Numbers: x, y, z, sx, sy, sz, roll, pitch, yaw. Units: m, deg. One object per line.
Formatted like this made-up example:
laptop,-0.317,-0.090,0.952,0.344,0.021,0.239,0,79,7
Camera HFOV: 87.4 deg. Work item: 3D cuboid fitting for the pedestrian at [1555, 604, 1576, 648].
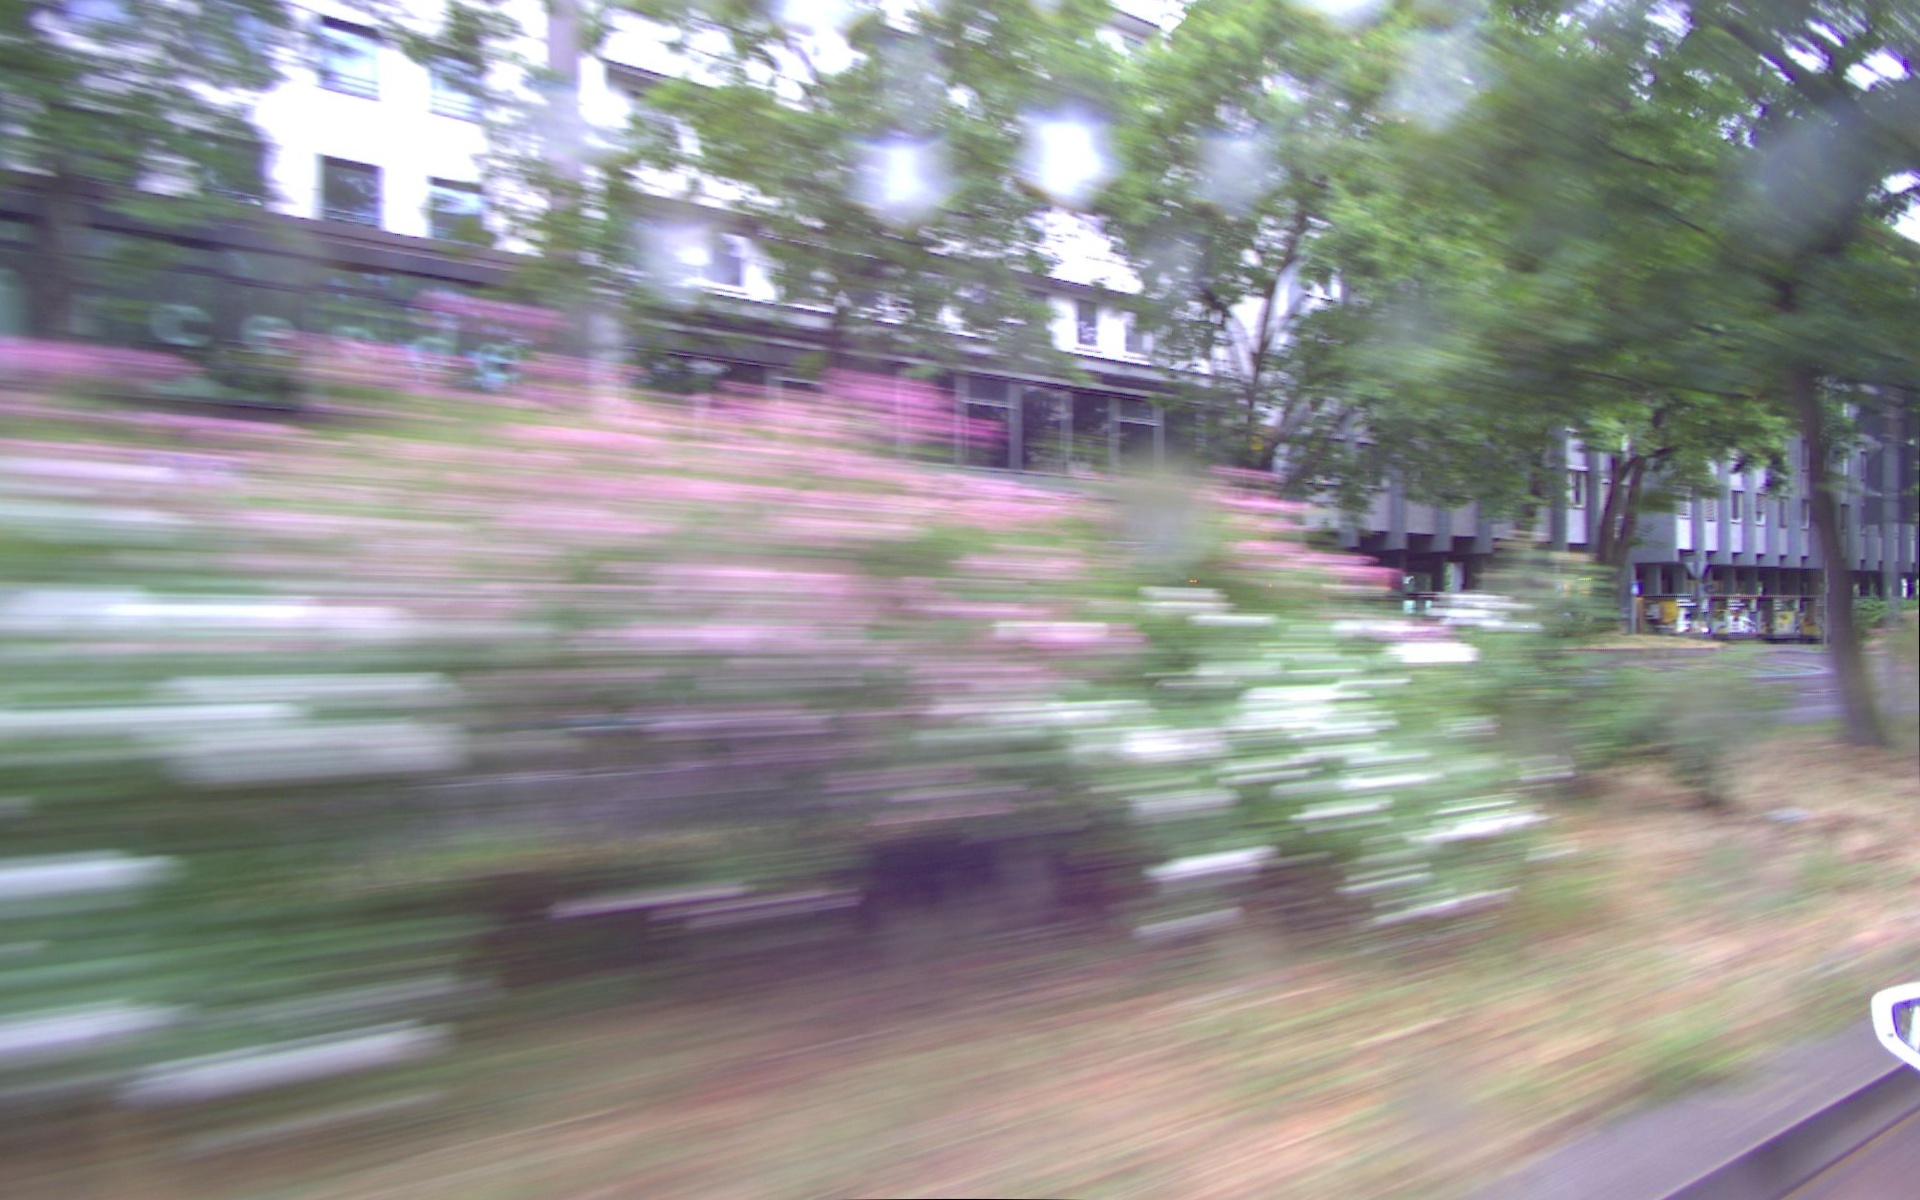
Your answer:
pedestrian,25.506,1.102,42.319,0.516,1.831,0.545,1,0,-30

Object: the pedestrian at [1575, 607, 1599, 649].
pedestrian,25.996,1.169,41.649,0.677,1.731,0.561,1,0,-30
